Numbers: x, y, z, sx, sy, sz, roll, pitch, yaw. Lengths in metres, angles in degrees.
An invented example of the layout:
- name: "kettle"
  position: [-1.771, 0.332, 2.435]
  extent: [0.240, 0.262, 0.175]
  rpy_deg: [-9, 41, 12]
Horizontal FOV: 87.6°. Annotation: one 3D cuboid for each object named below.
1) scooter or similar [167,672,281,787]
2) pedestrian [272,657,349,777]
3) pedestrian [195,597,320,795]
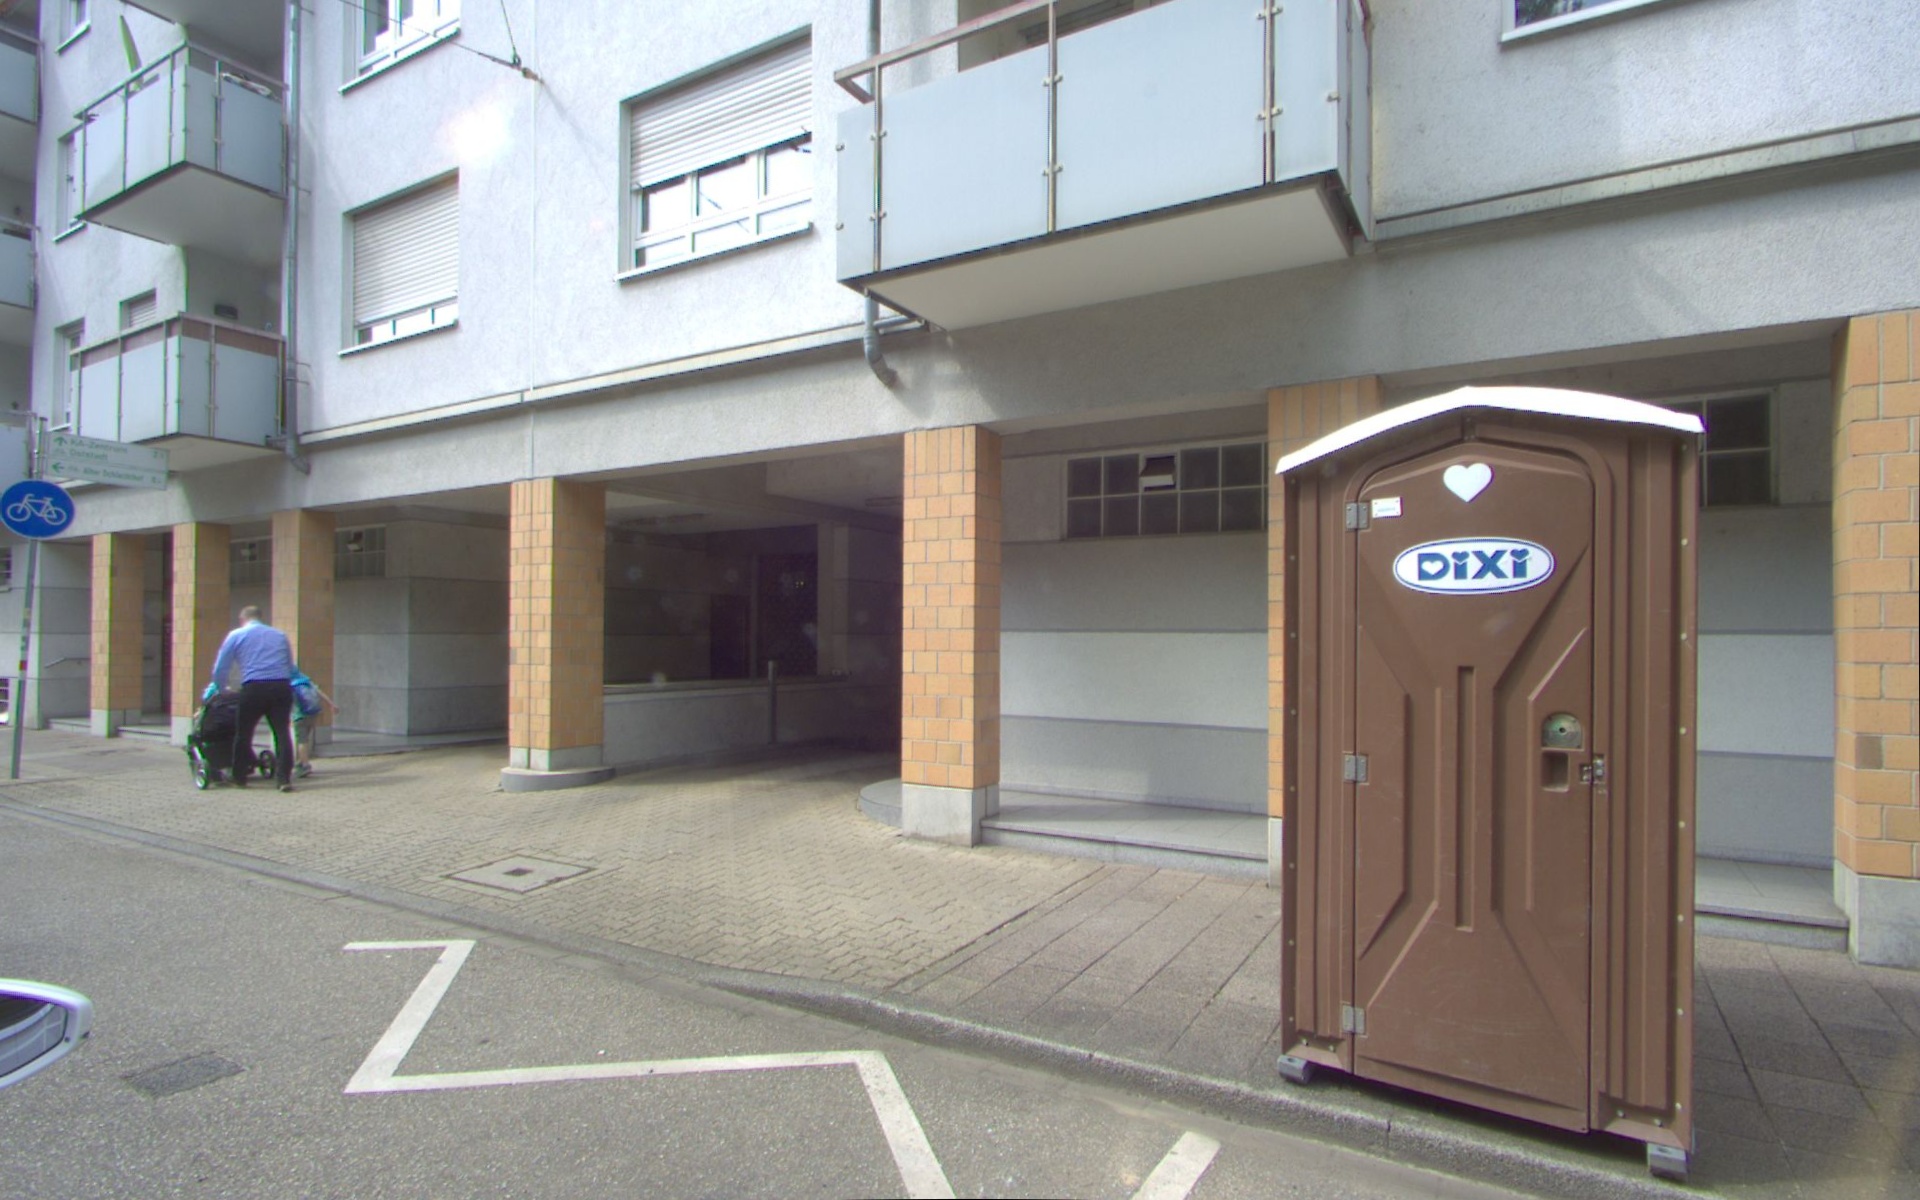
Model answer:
- name: "scooter or similar"
  position: [-7.318, 1.258, 9.962]
  extent: [0.893, 1.016, 0.591]
  rpy_deg: [-1, 2, 32]
- name: "pedestrian"
  position: [-6.630, 1.178, 10.222]
  extent: [0.487, 1.150, 0.455]
  rpy_deg: [0, 2, 32]
- name: "pedestrian"
  position: [-6.637, 0.869, 9.468]
  extent: [0.865, 1.762, 0.619]
  rpy_deg: [0, 2, 32]
